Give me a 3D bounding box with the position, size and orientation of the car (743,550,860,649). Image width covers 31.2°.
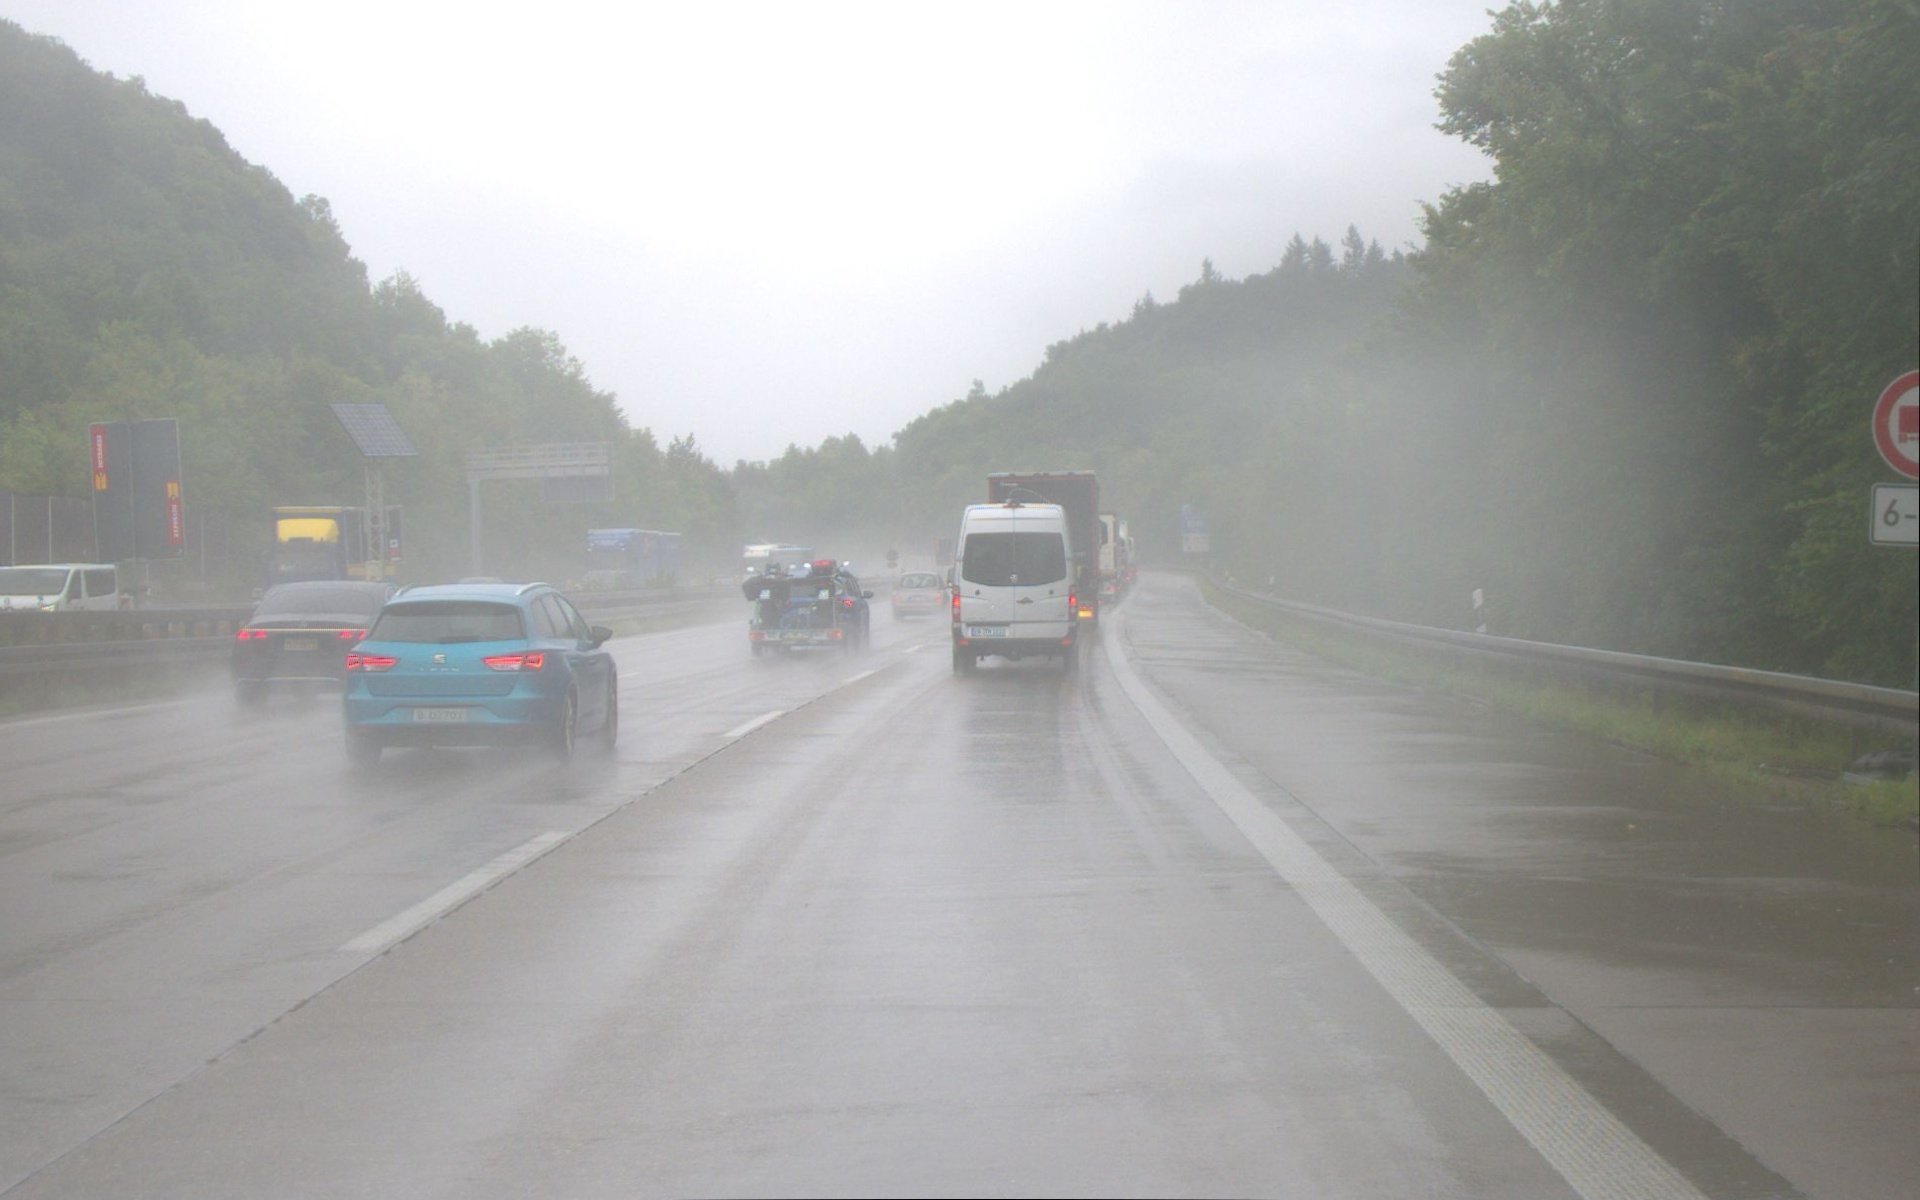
[{"bbox_3d":[-2.956,-0.038,64.881,1.869,1.804,4.188,0,1,2],"label":"car"}]

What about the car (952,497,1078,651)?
[{"bbox_3d":[0.908,-0.431,54.872,1.899,2.326,5.250,0,1,2],"label":"car"}]

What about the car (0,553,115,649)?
[{"bbox_3d":[-20.063,0.000,74.813,1.977,2.007,5.198,1,0,1],"label":"car"}]

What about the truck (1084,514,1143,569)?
[{"bbox_3d":[8.608,-3.239,191.961,2.586,2.971,9.023,0,1,7],"label":"truck"}]

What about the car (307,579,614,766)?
[{"bbox_3d":[-3.916,0.523,27.635,1.856,1.334,4.351,0,1,0],"label":"car"}]

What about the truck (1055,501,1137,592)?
[{"bbox_3d":[6.075,-2.332,152.280,3.091,3.896,9.052,1,0,6],"label":"truck"}]

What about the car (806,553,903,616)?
[{"bbox_3d":[-2.598,-0.393,85.492,1.994,1.525,3.999,0,1,4],"label":"car"}]

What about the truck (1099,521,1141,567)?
[{"bbox_3d":[10.578,-3.685,228.357,2.585,2.971,9.026,0,1,1],"label":"truck"}]

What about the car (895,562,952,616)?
[{"bbox_3d":[-1.129,-0.348,107.420,1.614,1.622,4.188,0,1,2],"label":"car"}]

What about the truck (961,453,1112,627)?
[{"bbox_3d":[2.016,-1.607,86.617,3.385,3.954,8.667,-3,2,3],"label":"truck"}]

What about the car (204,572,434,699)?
[{"bbox_3d":[-7.317,0.369,39.631,1.856,1.334,4.351,0,1,0],"label":"car"}]
